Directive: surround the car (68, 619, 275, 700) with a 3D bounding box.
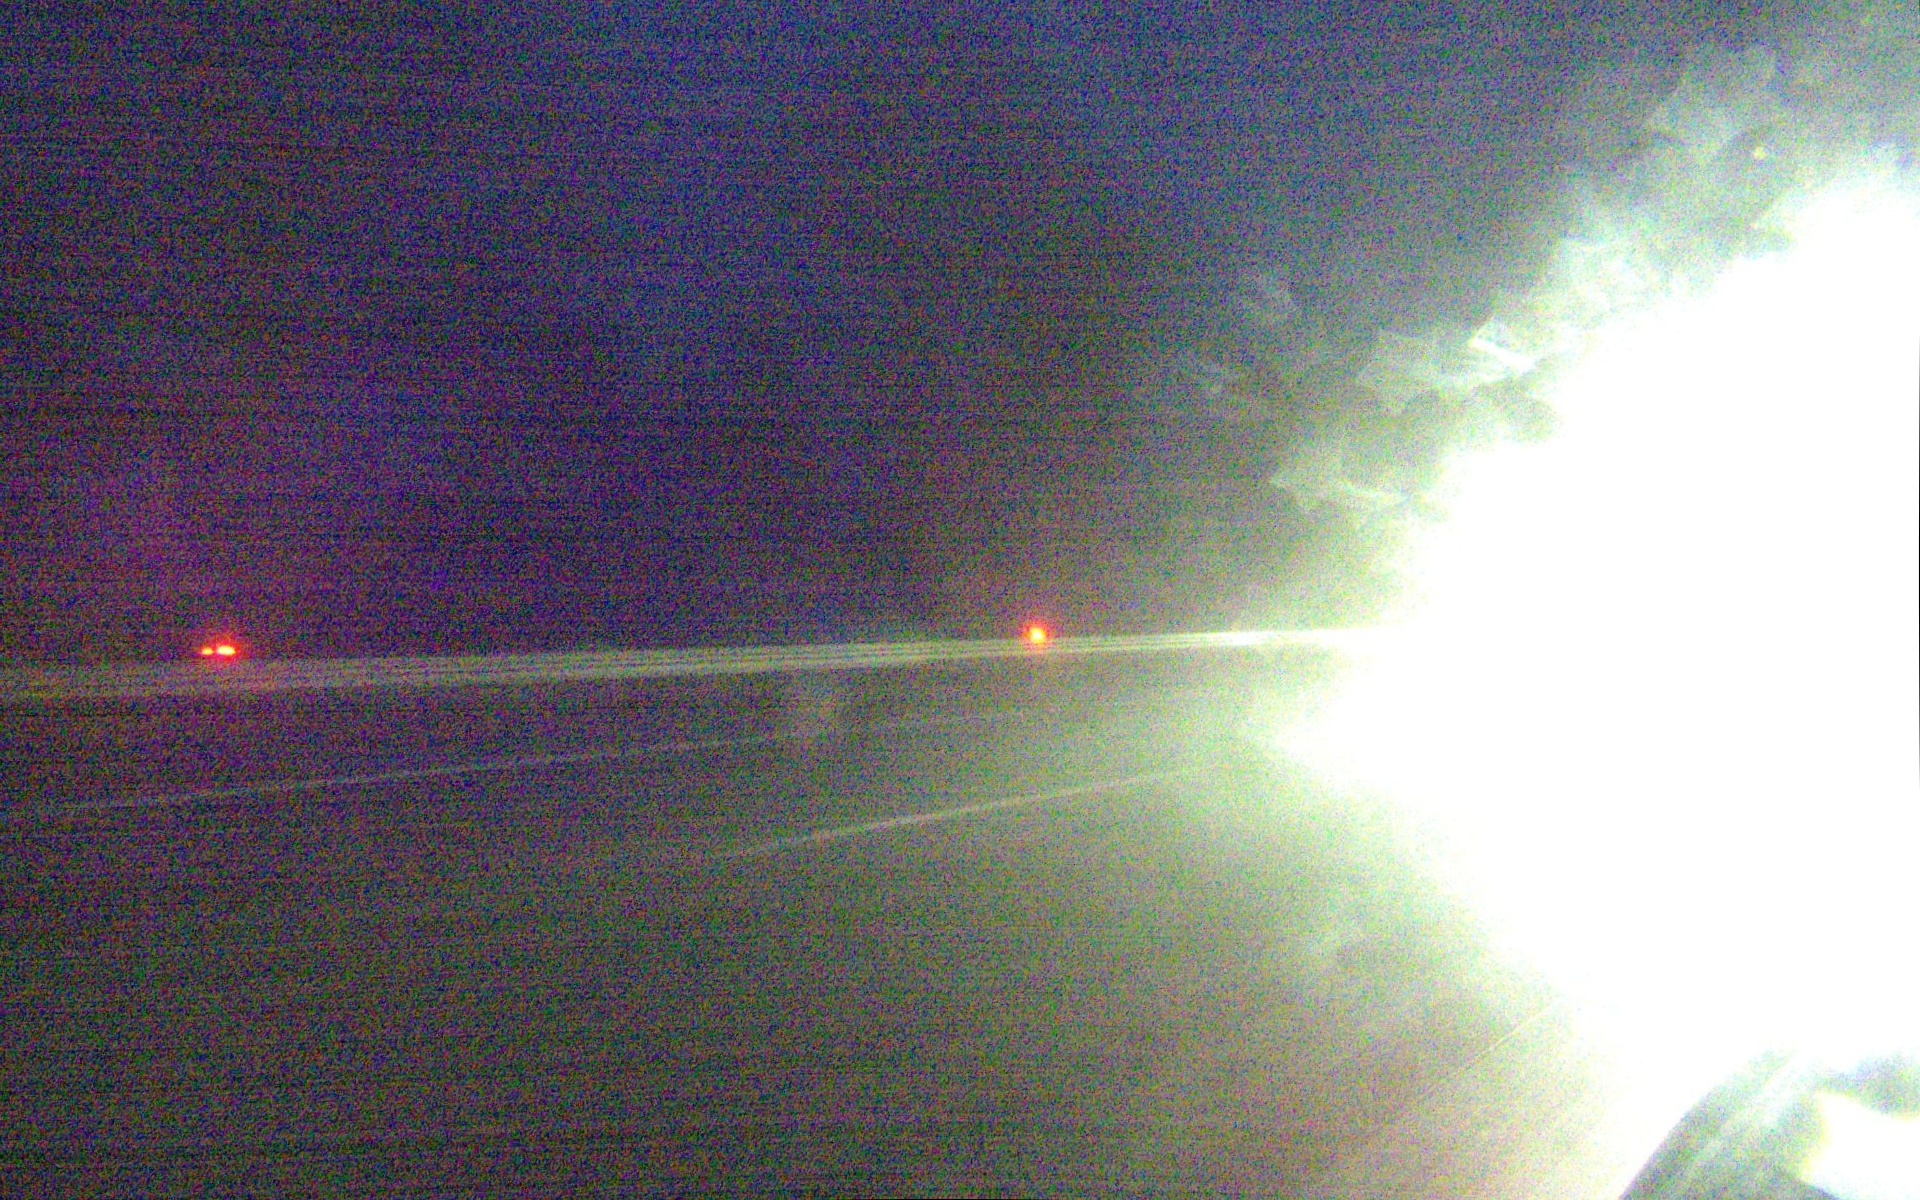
[{"bbox_3d":[-21.160,1.588,27.400,3.917,2.040,2.242,1,-3,-24],"label":"car"}]

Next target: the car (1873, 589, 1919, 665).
[{"bbox_3d":[22.467,0.629,23.115,3.612,1.646,1.846,2,-5,-40],"label":"car"}]
